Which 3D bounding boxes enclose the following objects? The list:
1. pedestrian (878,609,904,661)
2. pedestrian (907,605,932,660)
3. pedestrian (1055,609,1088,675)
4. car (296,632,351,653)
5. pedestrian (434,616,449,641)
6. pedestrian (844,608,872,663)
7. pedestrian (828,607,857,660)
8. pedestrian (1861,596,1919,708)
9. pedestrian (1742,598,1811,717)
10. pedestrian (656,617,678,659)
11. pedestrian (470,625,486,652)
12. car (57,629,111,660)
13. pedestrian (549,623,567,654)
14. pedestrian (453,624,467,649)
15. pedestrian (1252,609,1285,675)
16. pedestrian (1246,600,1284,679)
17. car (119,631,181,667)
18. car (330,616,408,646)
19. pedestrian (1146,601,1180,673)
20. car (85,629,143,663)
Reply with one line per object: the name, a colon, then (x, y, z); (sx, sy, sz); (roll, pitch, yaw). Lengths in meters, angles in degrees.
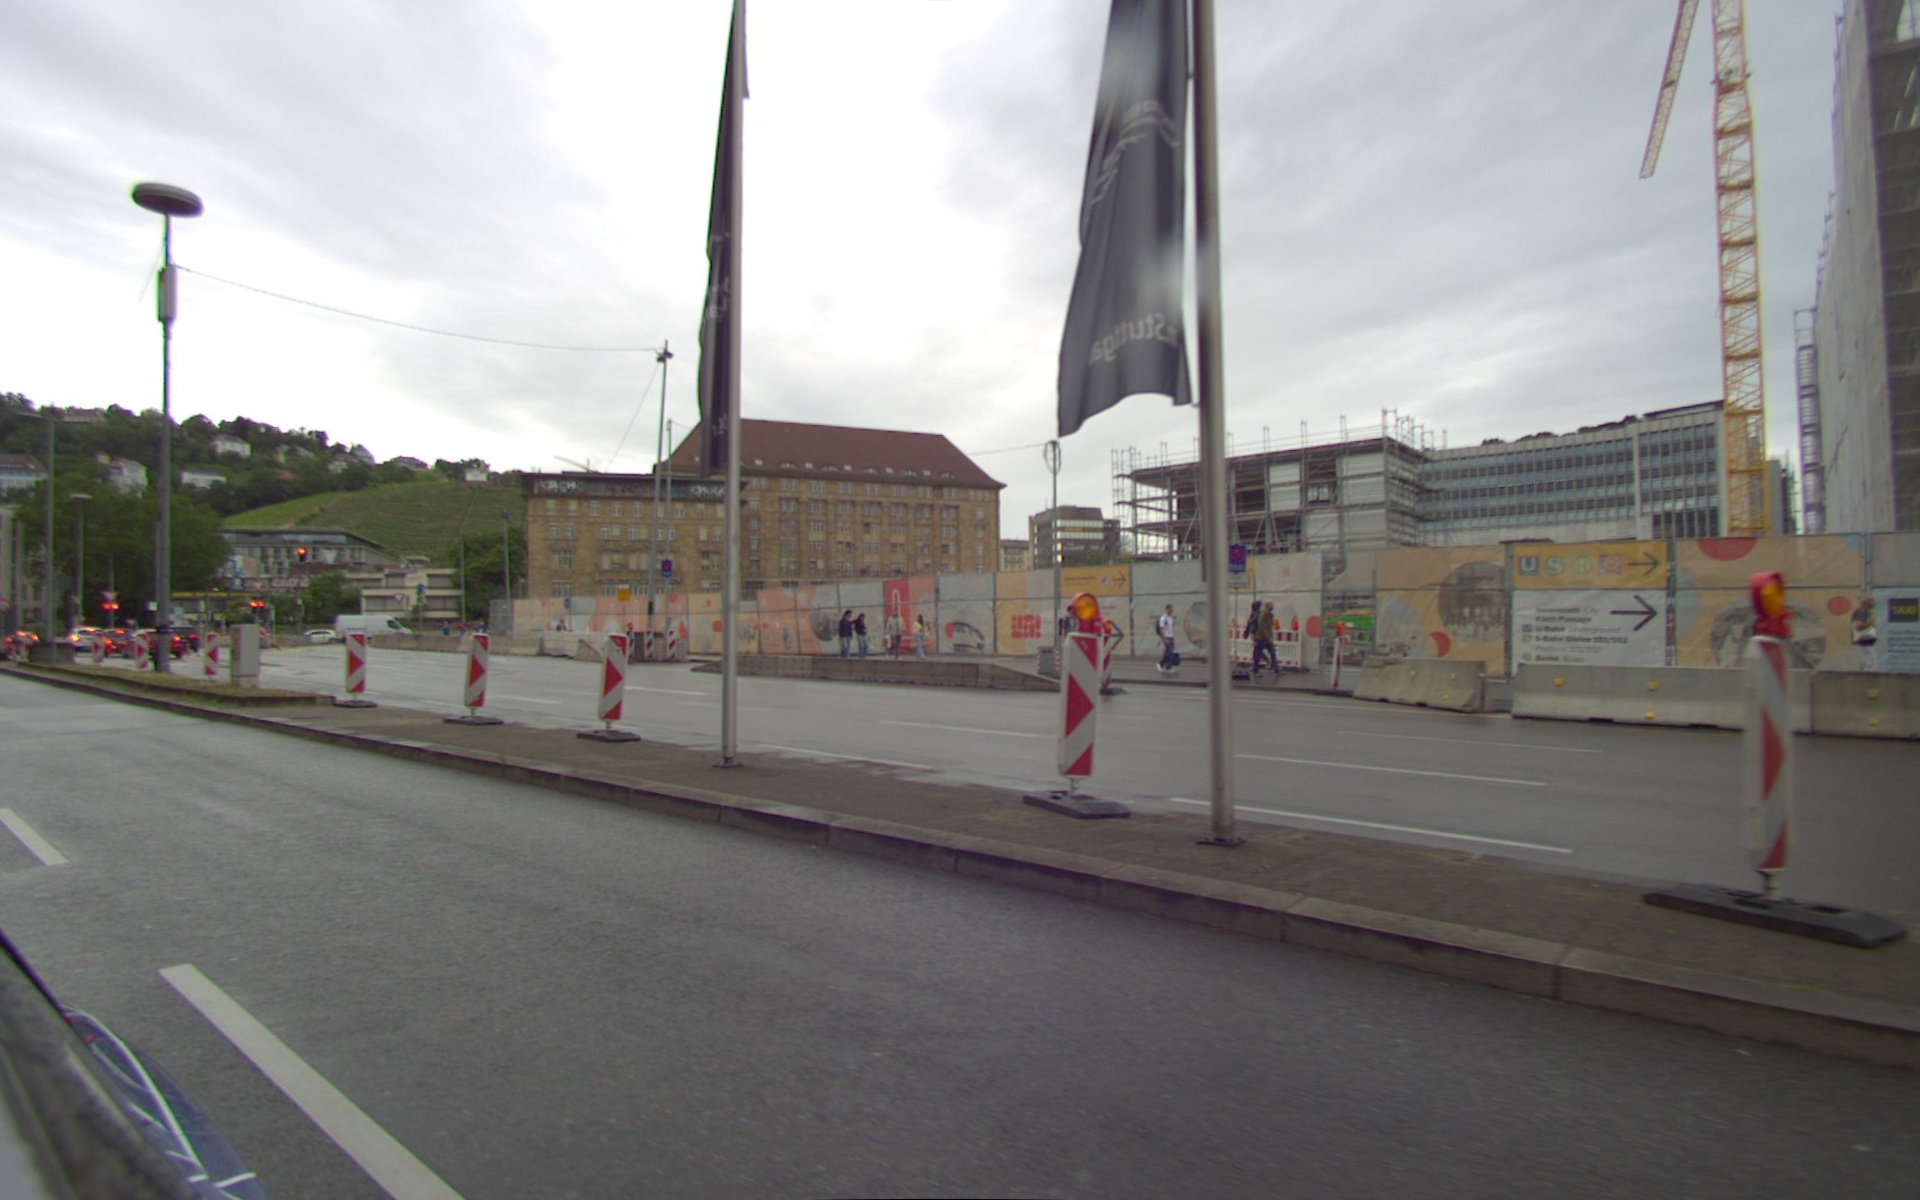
pedestrian: (-2.367, 1.181, 34.814); (0.704, 1.757, 0.565); (-1, 0, -28)
pedestrian: (-1.413, 1.107, 34.905); (0.651, 1.850, 0.557); (-1, 0, -28)
pedestrian: (3.192, 1.199, 29.062); (0.717, 1.850, 0.579); (-1, 0, 41)
car: (-60.669, 4.034, 96.513); (4.136, 1.871, 1.833); (-1, 0, -44)
pedestrian: (-34.881, 1.897, 68.052); (0.544, 1.628, 0.706); (-1, 0, 41)
pedestrian: (-3.528, 1.213, 35.012); (0.704, 1.850, 0.719); (-1, 0, -30)
pedestrian: (-3.952, 1.119, 33.907); (0.704, 1.746, 0.719); (-1, 0, -30)
pedestrian: (15.791, 0.872, 17.170); (0.717, 1.850, 0.475); (-1, 0, 42)
pedestrian: (13.141, 0.908, 16.285); (0.819, 1.850, 0.572); (-1, 0, 42)
pedestrian: (-13.080, 1.699, 45.221); (0.720, 1.850, 0.656); (-1, 0, 41)
pedestrian: (-29.758, 2.379, 62.519); (0.544, 1.628, 0.706); (-1, 0, 41)
car: (-51.152, 2.558, 59.096); (3.913, 1.707, 1.763); (-1, 0, 40)
pedestrian: (-21.283, 2.043, 53.562); (0.544, 1.628, 0.706); (-1, 0, 41)
pedestrian: (-34.205, 2.494, 69.224); (0.544, 1.628, 0.706); (-1, 0, 41)
pedestrian: (7.901, 1.065, 25.901); (0.544, 1.628, 0.706); (-1, 0, 41)
pedestrian: (7.283, 0.943, 24.192); (0.717, 1.850, 0.475); (-1, 0, 42)
car: (-40.293, 2.410, 50.317); (3.914, 1.707, 1.762); (-2, -2, 41)
car: (-48.077, 2.473, 82.381); (5.171, 2.254, 2.002); (-1, 0, -44)
pedestrian: (5.296, 0.955, 26.393); (0.717, 1.850, 0.475); (-1, 0, 42)
car: (-46.229, 2.468, 55.294); (3.913, 1.707, 1.763); (-1, 0, 40)
